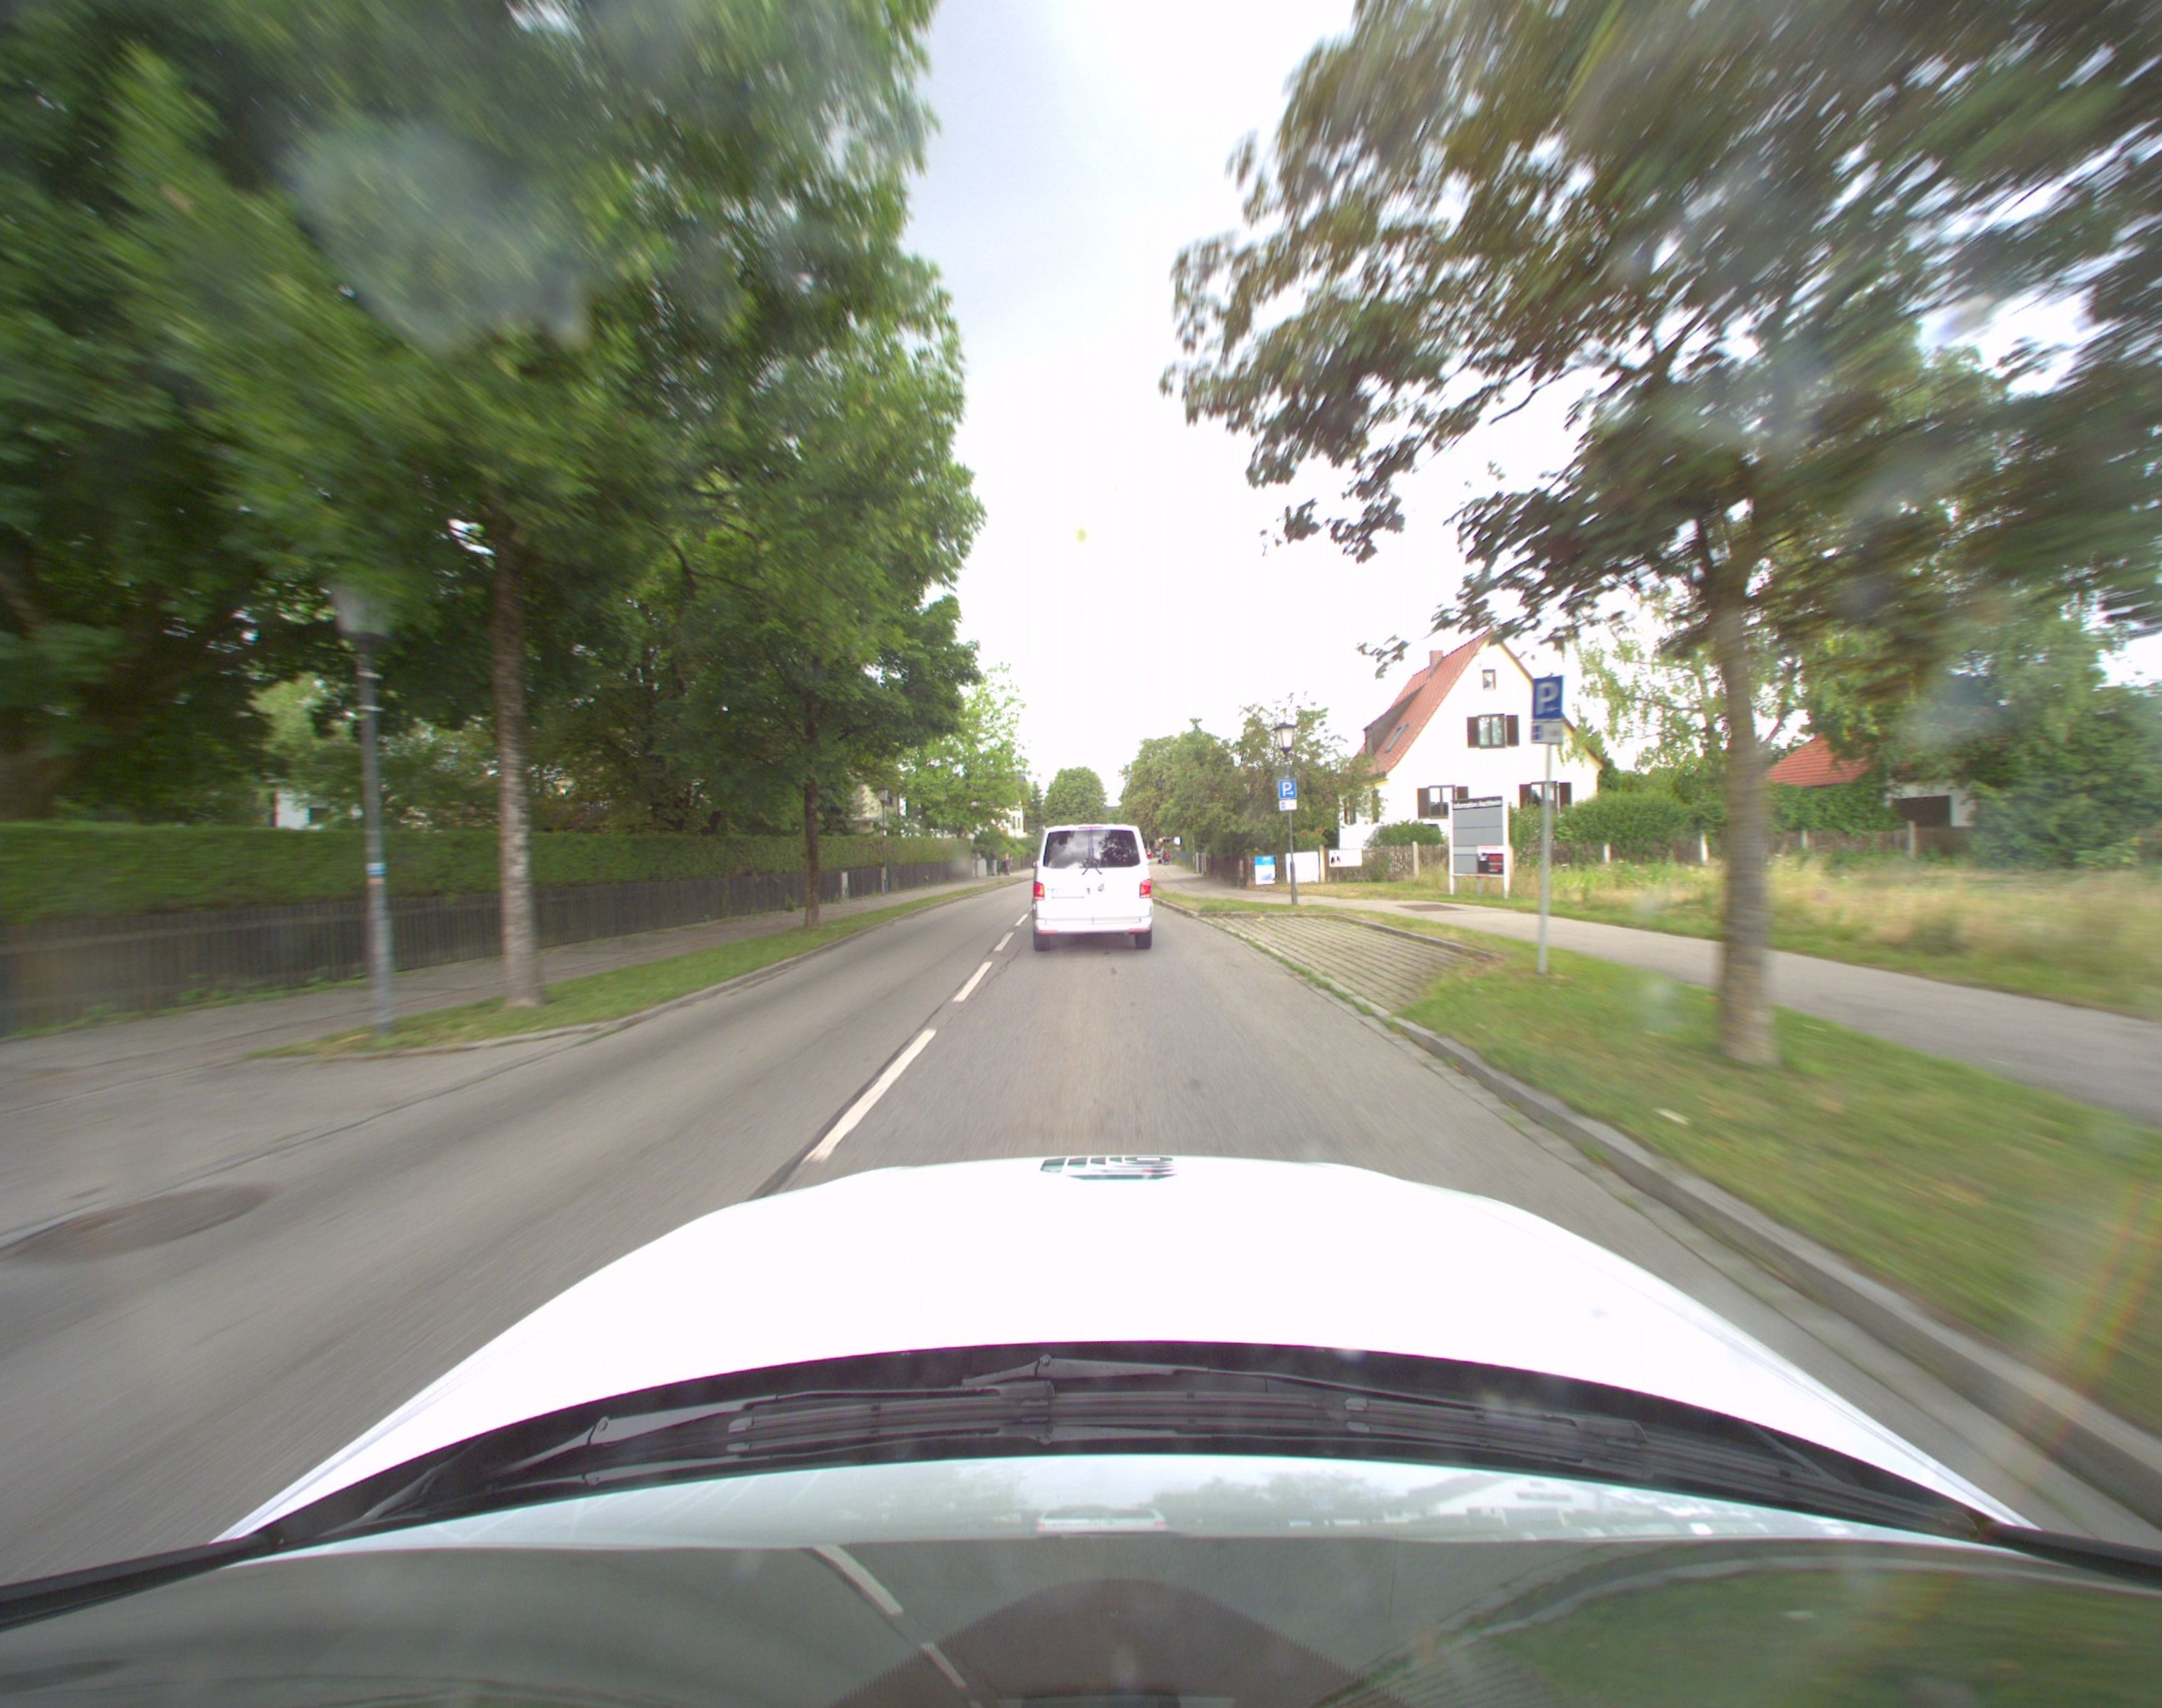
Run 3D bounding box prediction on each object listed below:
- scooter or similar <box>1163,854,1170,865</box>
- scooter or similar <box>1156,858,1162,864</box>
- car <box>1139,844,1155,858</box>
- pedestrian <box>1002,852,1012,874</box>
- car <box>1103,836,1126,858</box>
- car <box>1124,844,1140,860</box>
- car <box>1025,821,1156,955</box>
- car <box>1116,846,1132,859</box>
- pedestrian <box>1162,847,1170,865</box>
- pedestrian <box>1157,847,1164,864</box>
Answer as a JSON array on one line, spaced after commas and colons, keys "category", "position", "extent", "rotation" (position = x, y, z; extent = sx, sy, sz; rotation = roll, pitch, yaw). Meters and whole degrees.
[{"category": "scooter or similar", "position": [7.055, 0.448, 67.093], "extent": [0.550, 0.971, 0.620], "rotation": [0, 0, -1]}, {"category": "scooter or similar", "position": [7.234, 0.636, 75.321], "extent": [0.473, 0.545, 0.458], "rotation": [0, 0, -1]}, {"category": "car", "position": [10.141, -0.436, 125.109], "extent": [1.981, 2.013, 4.011], "rotation": [-2, 0, 10]}, {"category": "pedestrian", "position": [-5.107, 0.631, 56.237], "extent": [0.620, 1.549, 0.522], "rotation": [0, 0, -1]}, {"category": "car", "position": [3.241, -0.675, 77.719], "extent": [1.984, 2.013, 4.005], "rotation": [0, 0, 4]}, {"category": "car", "position": [7.104, -0.269, 113.189], "extent": [1.983, 2.013, 4.007], "rotation": [-2, 0, 6]}, {"category": "car", "position": [0.239, 0.491, 13.854], "extent": [1.880, 1.912, 4.003], "rotation": [-1, 0, 3]}, {"category": "car", "position": [6.656, -0.253, 125.590], "extent": [1.982, 2.013, 4.009], "rotation": [-2, 0, 8]}, {"category": "pedestrian", "position": [7.060, 0.166, 67.798], "extent": [0.550, 1.549, 0.612], "rotation": [0, 0, -1]}, {"category": "pedestrian", "position": [7.279, 0.145, 74.746], "extent": [0.620, 1.523, 0.579], "rotation": [0, 0, -1]}]
